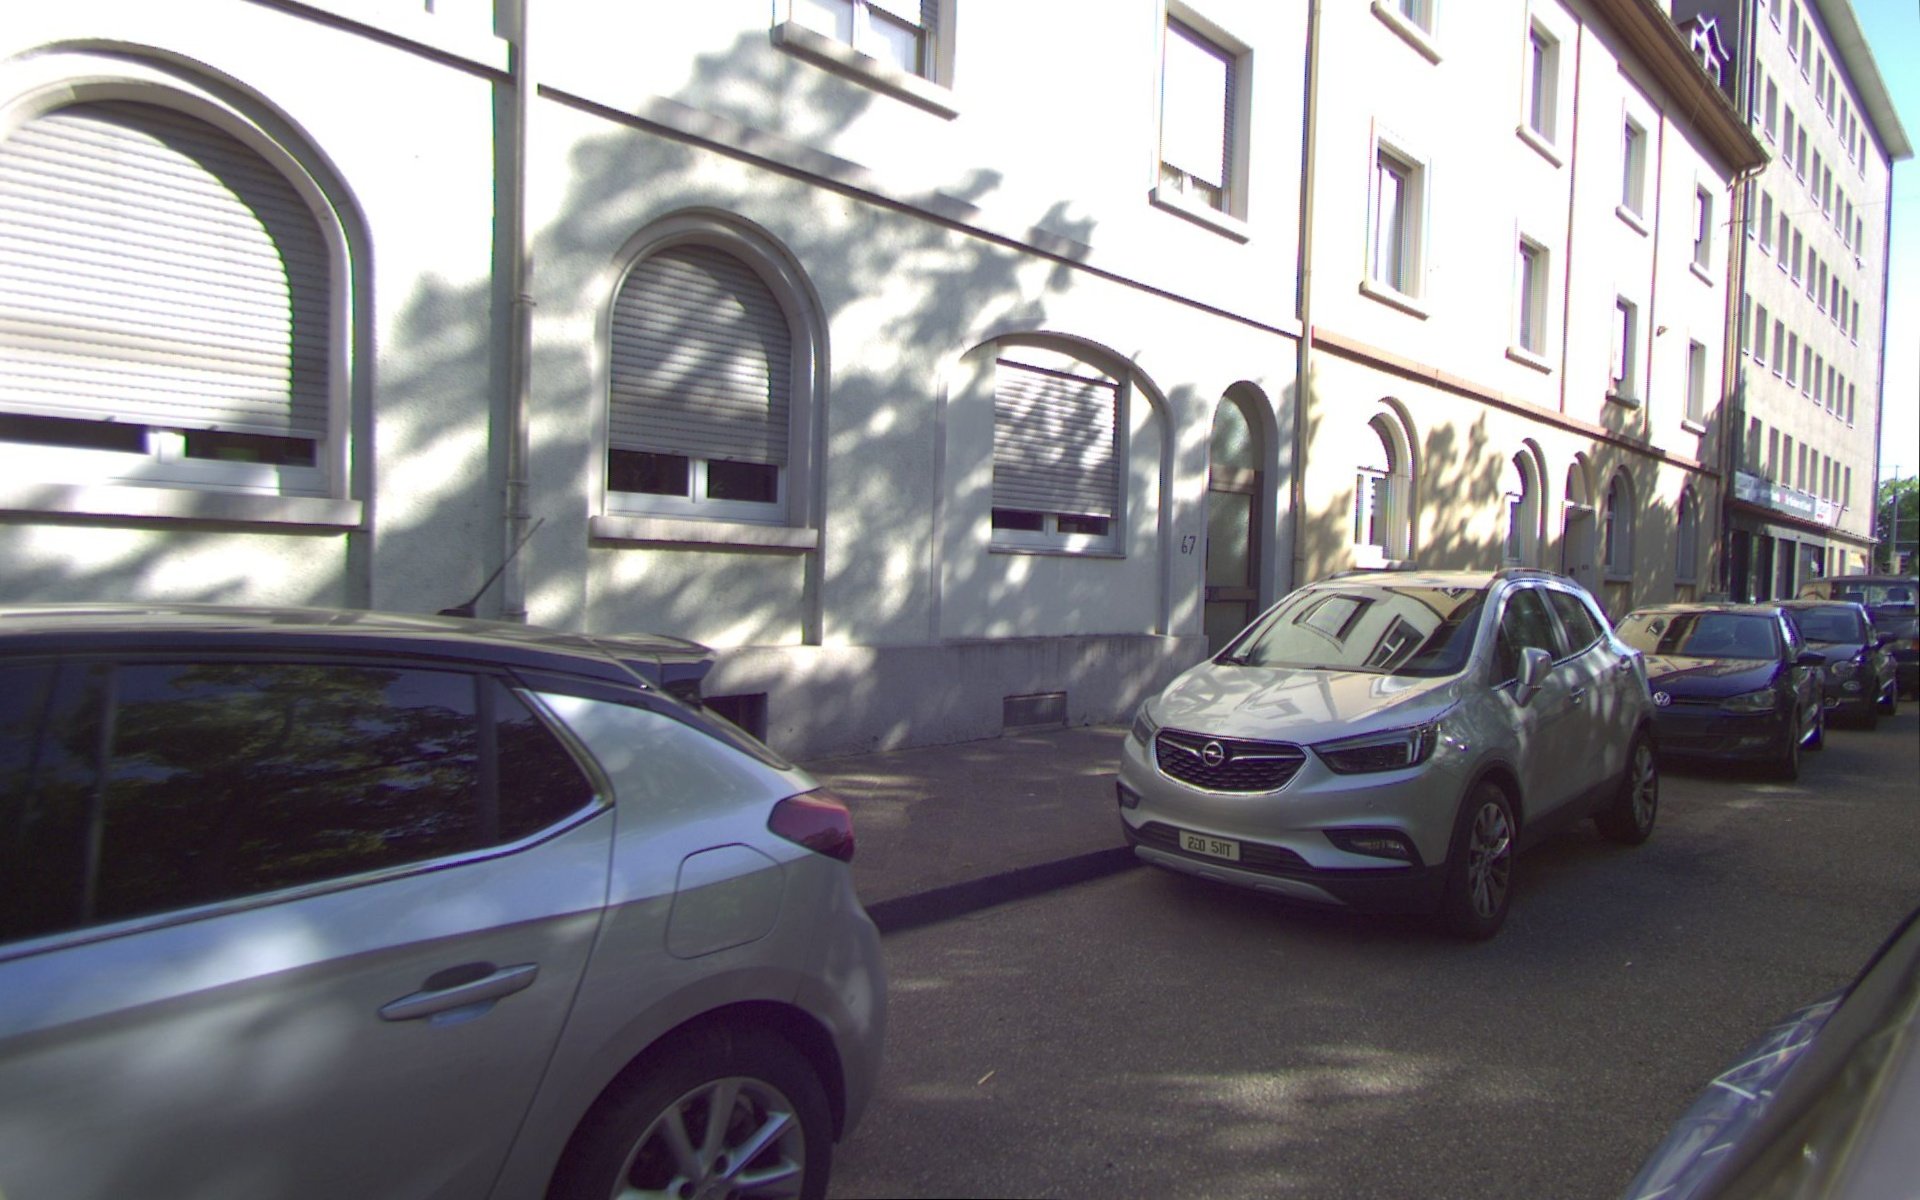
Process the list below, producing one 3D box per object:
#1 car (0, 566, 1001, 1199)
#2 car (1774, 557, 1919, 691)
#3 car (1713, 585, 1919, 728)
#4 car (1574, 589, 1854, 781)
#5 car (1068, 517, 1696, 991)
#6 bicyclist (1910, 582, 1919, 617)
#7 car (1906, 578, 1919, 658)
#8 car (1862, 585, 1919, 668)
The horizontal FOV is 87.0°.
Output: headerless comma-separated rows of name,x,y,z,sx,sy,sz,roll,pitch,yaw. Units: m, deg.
car,-2.013,0.672,1.630,4.085,1.450,1.726,0,2,-41
car,15.169,0.316,16.612,4.760,1.924,1.952,0,2,-41
car,10.964,0.606,12.860,3.534,1.517,1.623,0,2,-43
car,7.221,0.634,9.548,3.798,1.411,1.550,0,2,-45
car,2.605,0.522,5.681,4.088,1.707,1.724,0,2,-43
bicyclist,44.790,-0.008,46.973,0.820,1.583,0.590,3,2,28
car,23.444,0.424,23.526,4.433,1.775,1.764,0,2,-43
car,19.349,0.506,20.002,4.165,1.519,1.765,0,2,-42
